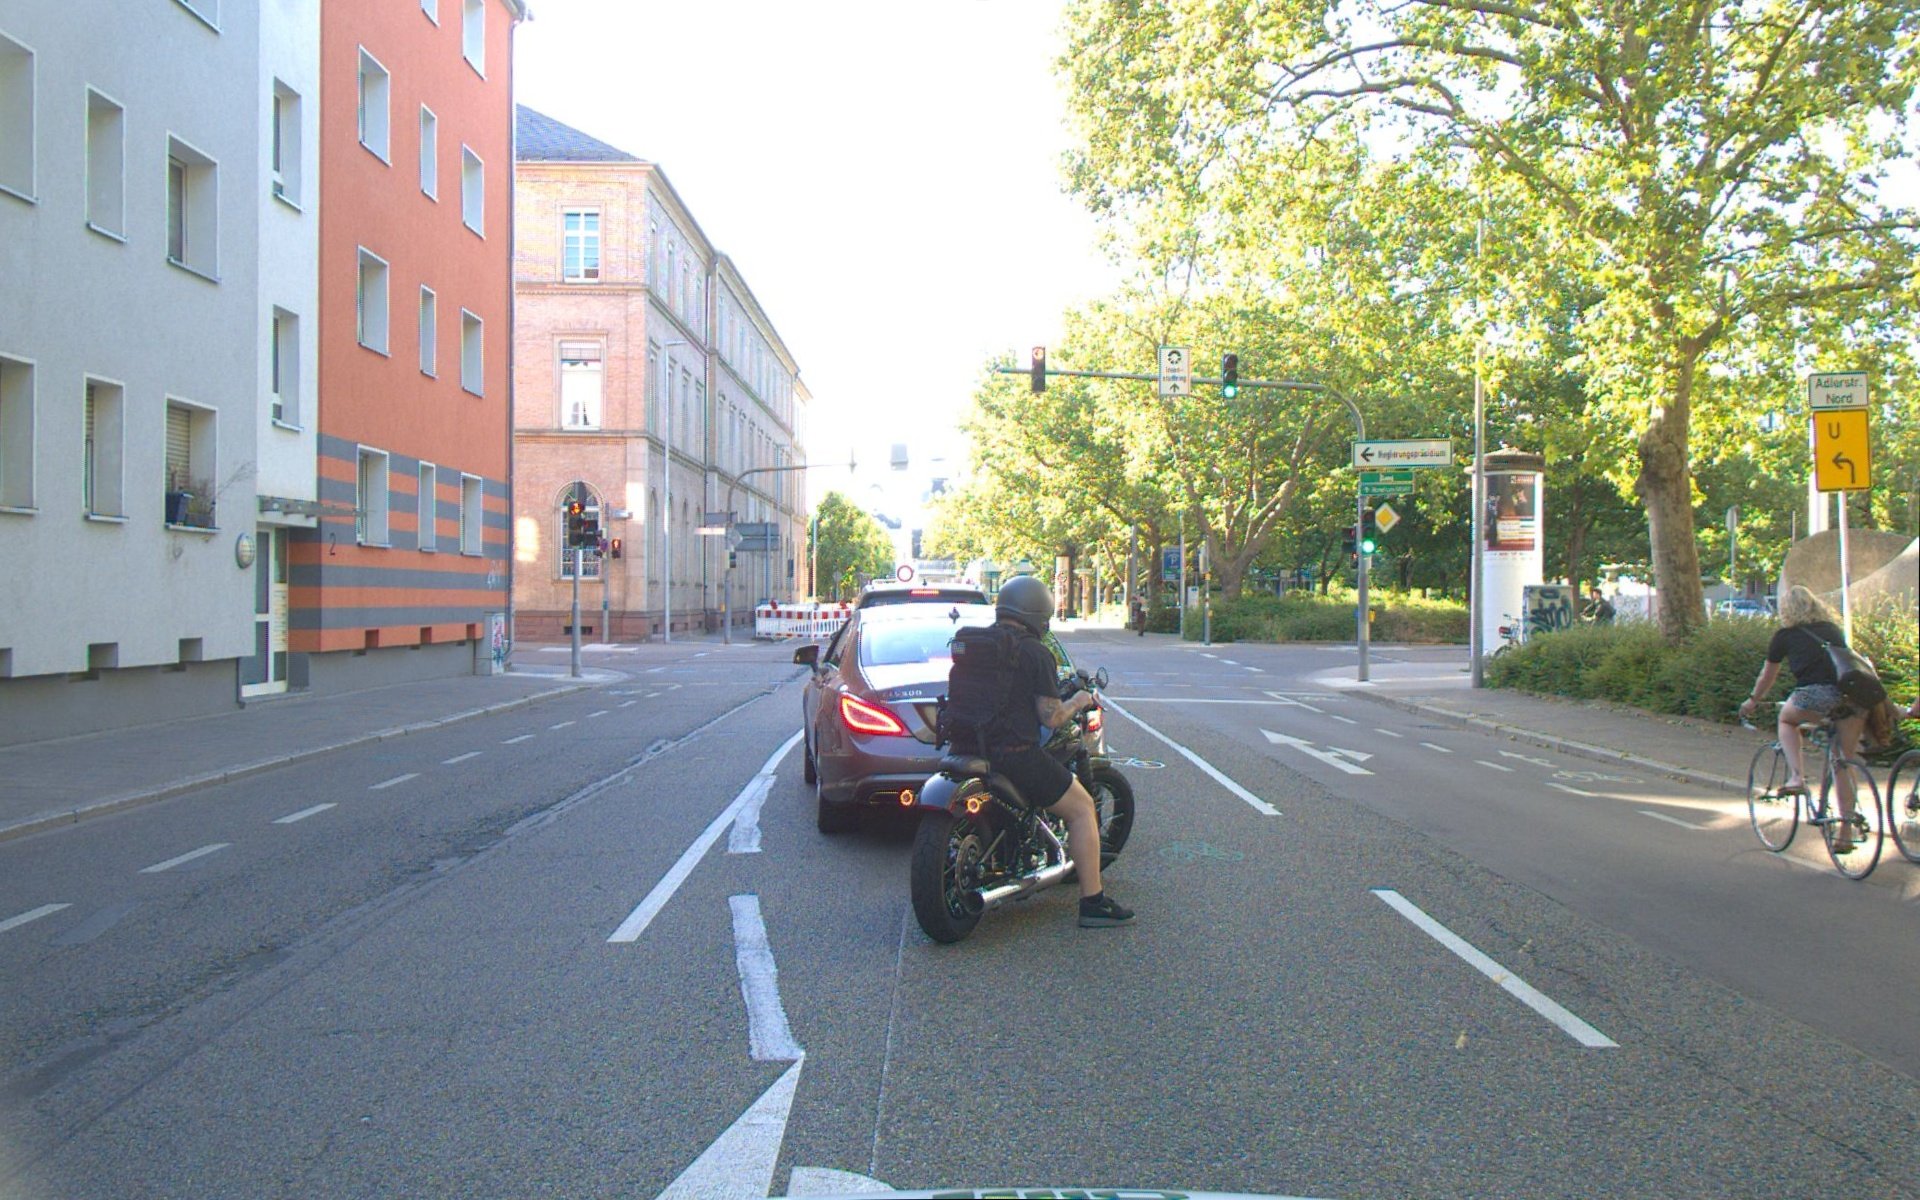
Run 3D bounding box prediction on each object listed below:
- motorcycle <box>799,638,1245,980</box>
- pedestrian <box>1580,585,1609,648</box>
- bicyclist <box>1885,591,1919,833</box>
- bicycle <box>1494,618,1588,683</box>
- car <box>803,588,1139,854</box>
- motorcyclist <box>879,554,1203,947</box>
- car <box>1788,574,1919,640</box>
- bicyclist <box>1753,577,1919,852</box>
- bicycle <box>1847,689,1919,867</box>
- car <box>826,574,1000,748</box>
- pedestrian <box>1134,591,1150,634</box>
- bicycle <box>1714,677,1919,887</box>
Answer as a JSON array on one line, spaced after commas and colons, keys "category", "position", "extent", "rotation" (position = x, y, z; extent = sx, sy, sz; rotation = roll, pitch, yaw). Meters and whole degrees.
[{"category": "motorcycle", "position": [0.415, 0.831, 7.726], "extent": [0.988, 1.225, 2.660], "rotation": [0, 0, 29]}, {"category": "pedestrian", "position": [18.634, 0.480, 48.576], "extent": [0.607, 1.815, 0.630], "rotation": [0, 0, 1]}, {"category": "bicyclist", "position": [5.971, 0.673, 9.646], "extent": [0.588, 1.426, 0.931], "rotation": [2, 0, -1]}, {"category": "bicycle", "position": [9.694, 0.835, 27.608], "extent": [1.387, 1.055, 0.538], "rotation": [0, 0, -5]}, {"category": "car", "position": [-0.129, 0.683, 11.622], "extent": [1.787, 1.502, 4.346], "rotation": [0, 0, -7]}, {"category": "motorcyclist", "position": [0.403, 0.625, 7.706], "extent": [1.092, 1.641, 1.200], "rotation": [0, 0, 29]}, {"category": "car", "position": [25.717, 0.192, 46.497], "extent": [3.912, 1.815, 2.001], "rotation": [0, 0, 4]}, {"category": "bicyclist", "position": [5.236, 0.650, 9.806], "extent": [0.598, 1.542, 0.889], "rotation": [2, 0, -1]}, {"category": "bicycle", "position": [5.963, 1.082, 9.587], "extent": [0.588, 1.002, 1.881], "rotation": [2, 0, -1]}, {"category": "car", "position": [-0.509, 0.579, 17.633], "extent": [1.647, 1.653, 3.839], "rotation": [0, 0, -2]}, {"category": "pedestrian", "position": [7.314, 0.493, 66.468], "extent": [0.548, 1.707, 0.564], "rotation": [0, 0, -1]}, {"category": "bicycle", "position": [5.218, 1.038, 9.867], "extent": [0.598, 1.044, 1.731], "rotation": [2, 0, -1]}]
